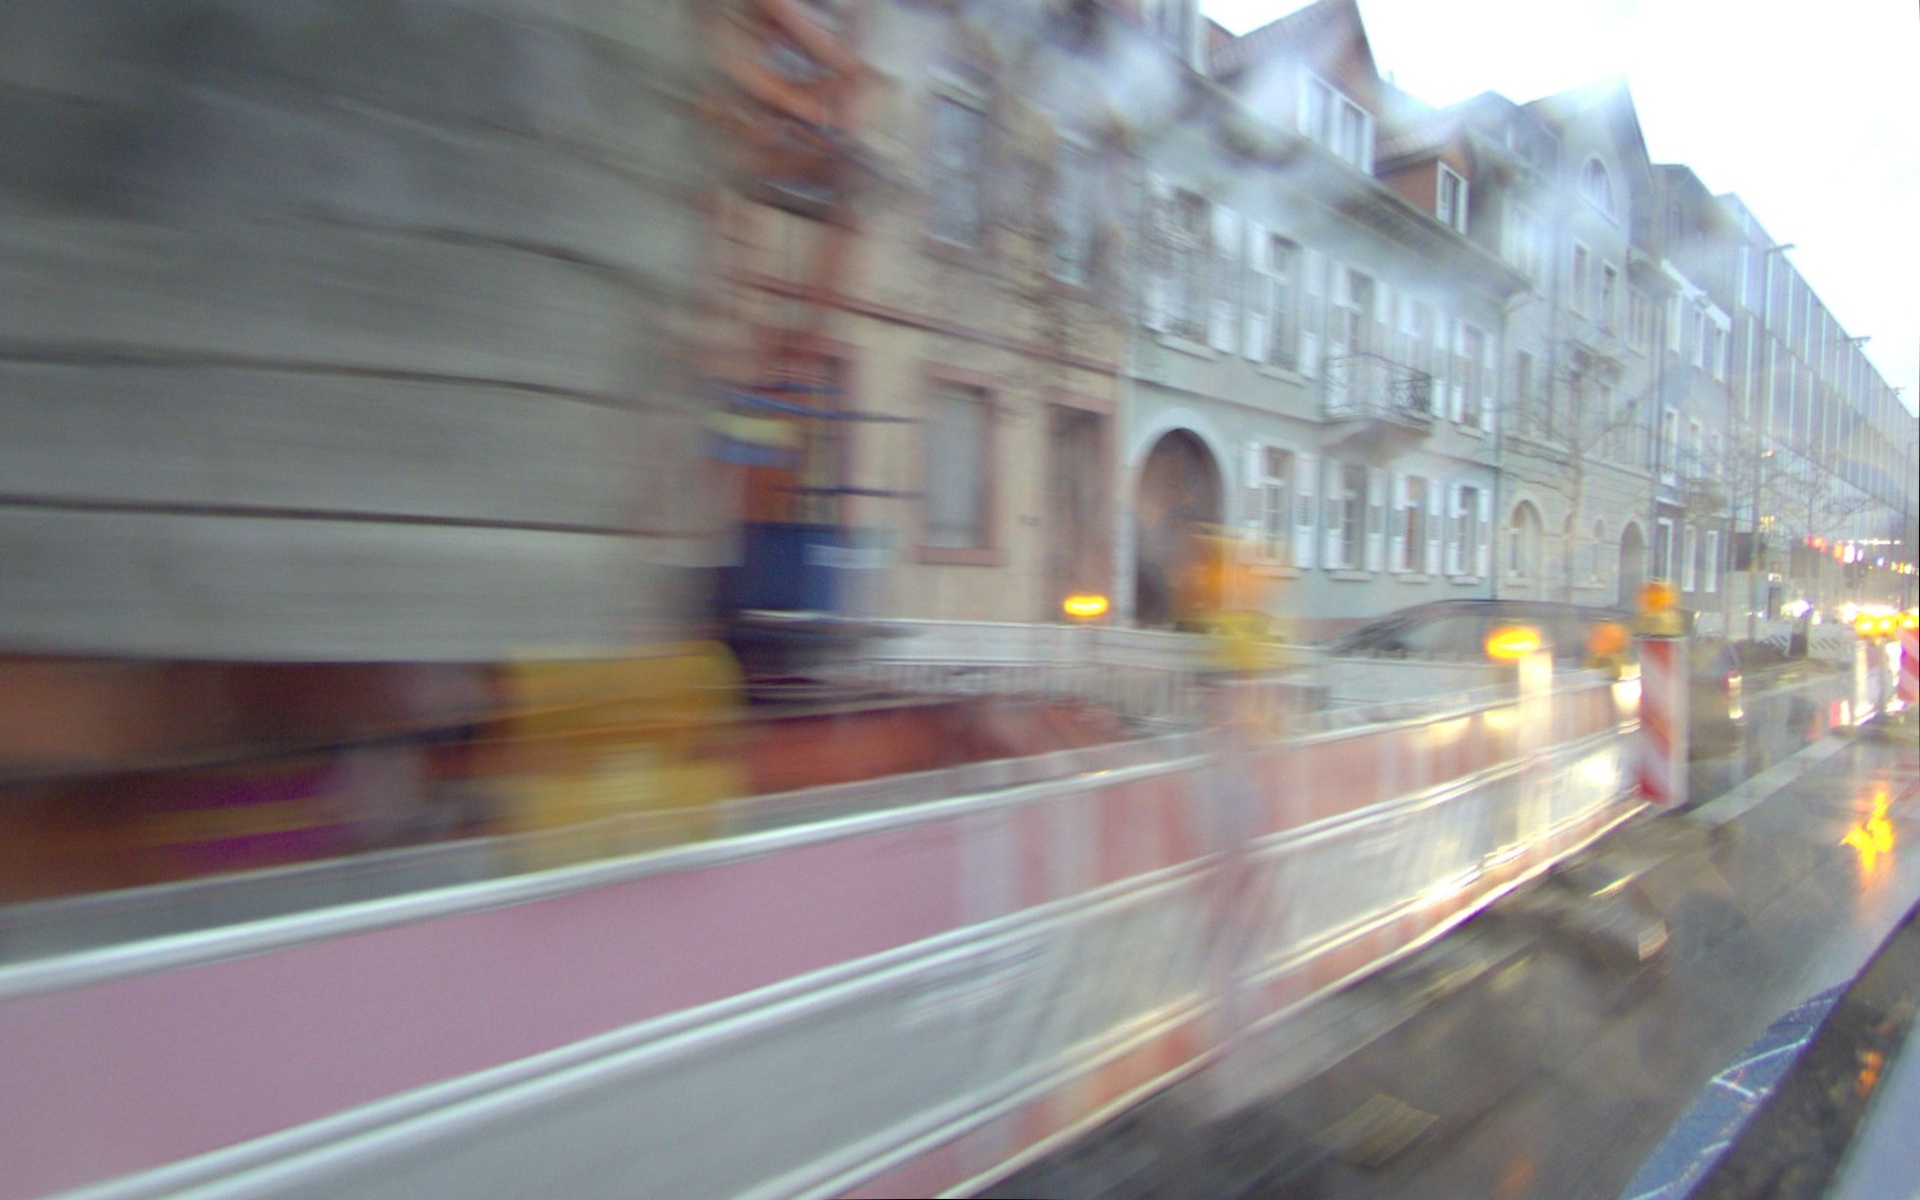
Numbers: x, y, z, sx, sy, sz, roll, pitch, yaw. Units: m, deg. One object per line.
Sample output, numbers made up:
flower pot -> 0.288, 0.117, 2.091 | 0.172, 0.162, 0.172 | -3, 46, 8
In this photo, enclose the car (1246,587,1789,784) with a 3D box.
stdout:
car -> 4.830, 0.667, 9.441 | 4.033, 1.537, 1.900 | 1, 0, 13
